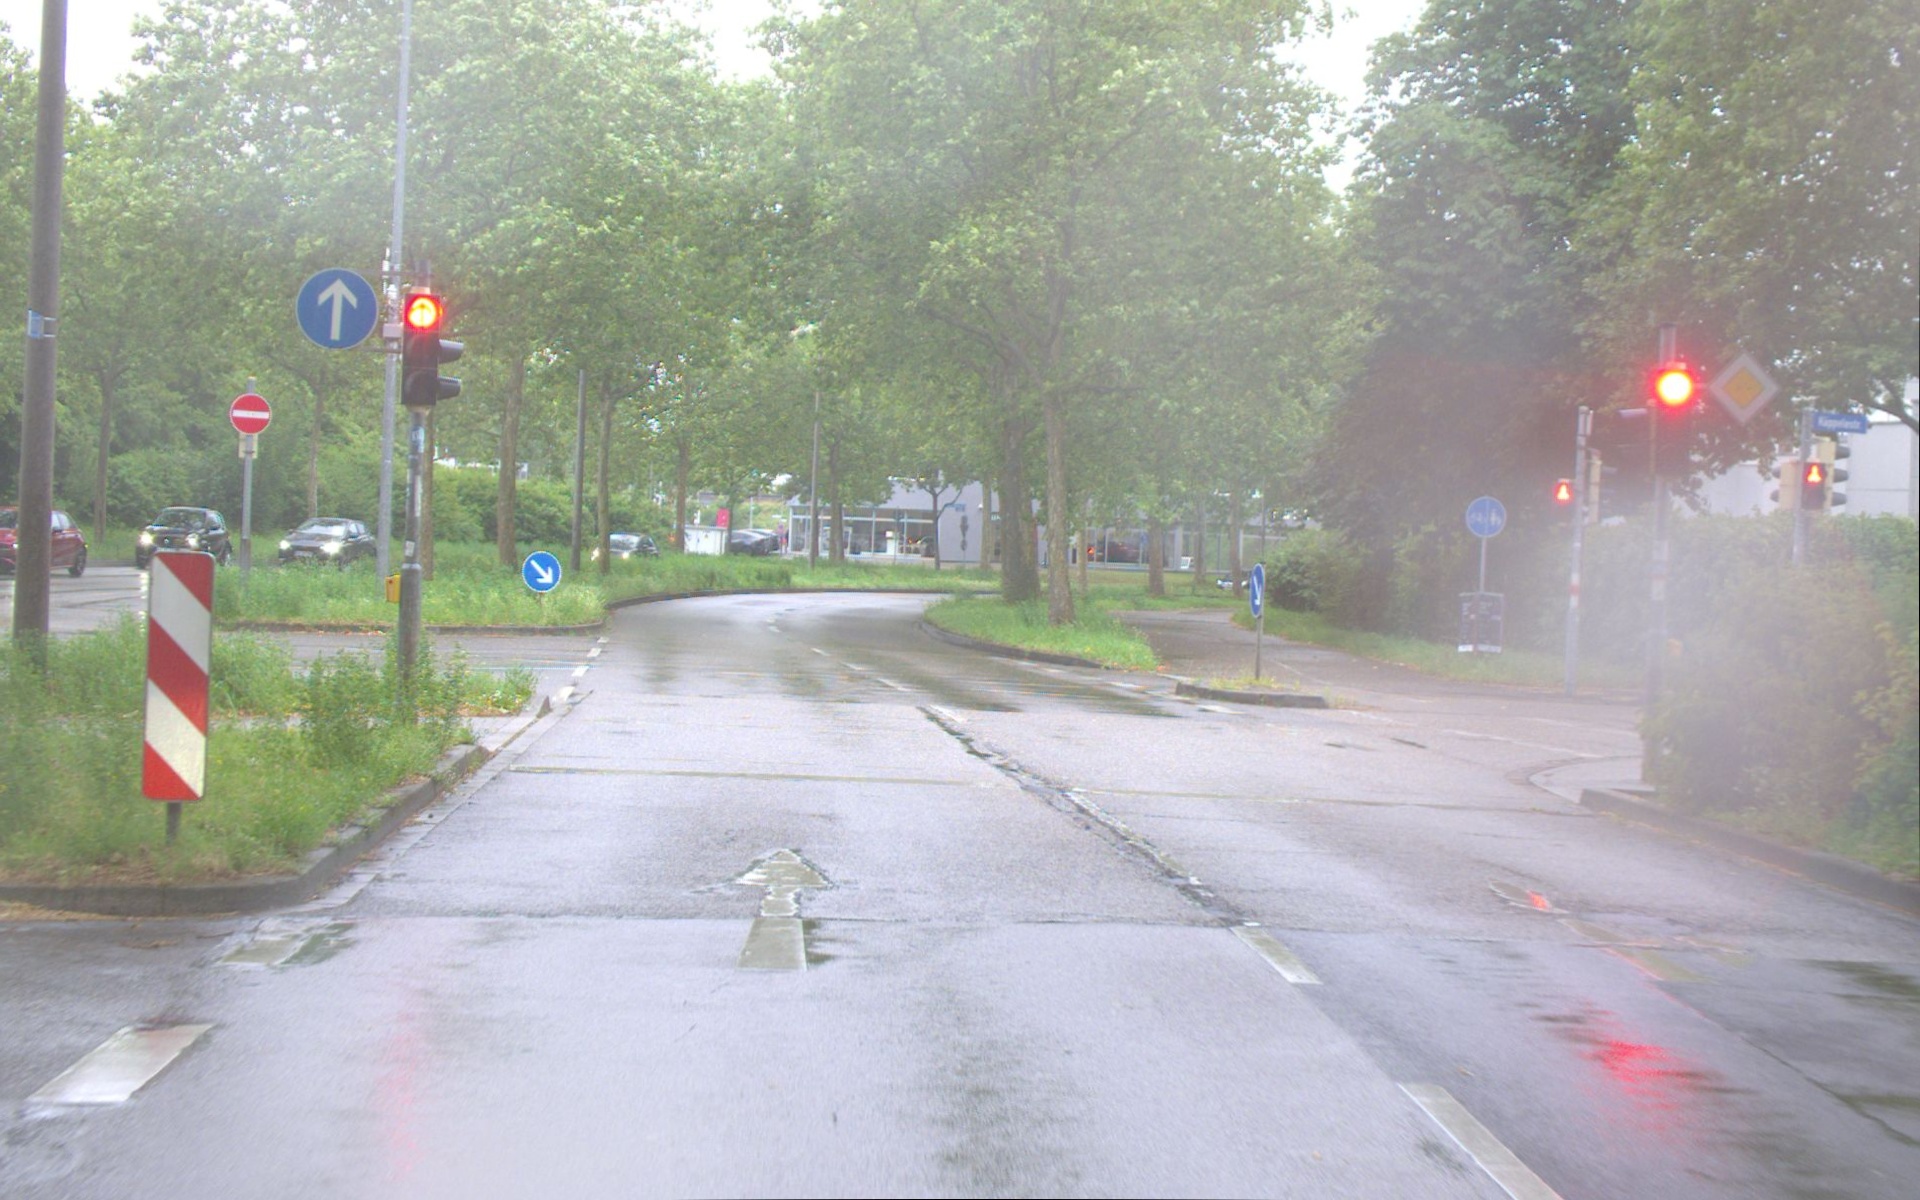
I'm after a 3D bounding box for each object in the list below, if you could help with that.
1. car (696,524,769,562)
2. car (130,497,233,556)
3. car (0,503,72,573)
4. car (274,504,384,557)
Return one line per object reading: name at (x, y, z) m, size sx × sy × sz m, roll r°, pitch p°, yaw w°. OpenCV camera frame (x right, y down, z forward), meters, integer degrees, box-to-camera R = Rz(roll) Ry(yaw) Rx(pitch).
car at (-13.541, -3.365, 204.174) m, size 3.986 × 2.007 × 2.001 m, roll 3°, pitch -1°, yaw -12°
car at (-19.239, -1.814, 85.063) m, size 1.587 × 1.368 × 3.334 m, roll 2°, pitch 1°, yaw 3°
car at (-20.122, -1.327, 72.608) m, size 1.743 × 1.403 × 4.445 m, roll 2°, pitch 1°, yaw -3°
car at (-17.497, -1.907, 95.485) m, size 1.588 × 1.368 × 4.260 m, roll 2°, pitch 1°, yaw 10°
